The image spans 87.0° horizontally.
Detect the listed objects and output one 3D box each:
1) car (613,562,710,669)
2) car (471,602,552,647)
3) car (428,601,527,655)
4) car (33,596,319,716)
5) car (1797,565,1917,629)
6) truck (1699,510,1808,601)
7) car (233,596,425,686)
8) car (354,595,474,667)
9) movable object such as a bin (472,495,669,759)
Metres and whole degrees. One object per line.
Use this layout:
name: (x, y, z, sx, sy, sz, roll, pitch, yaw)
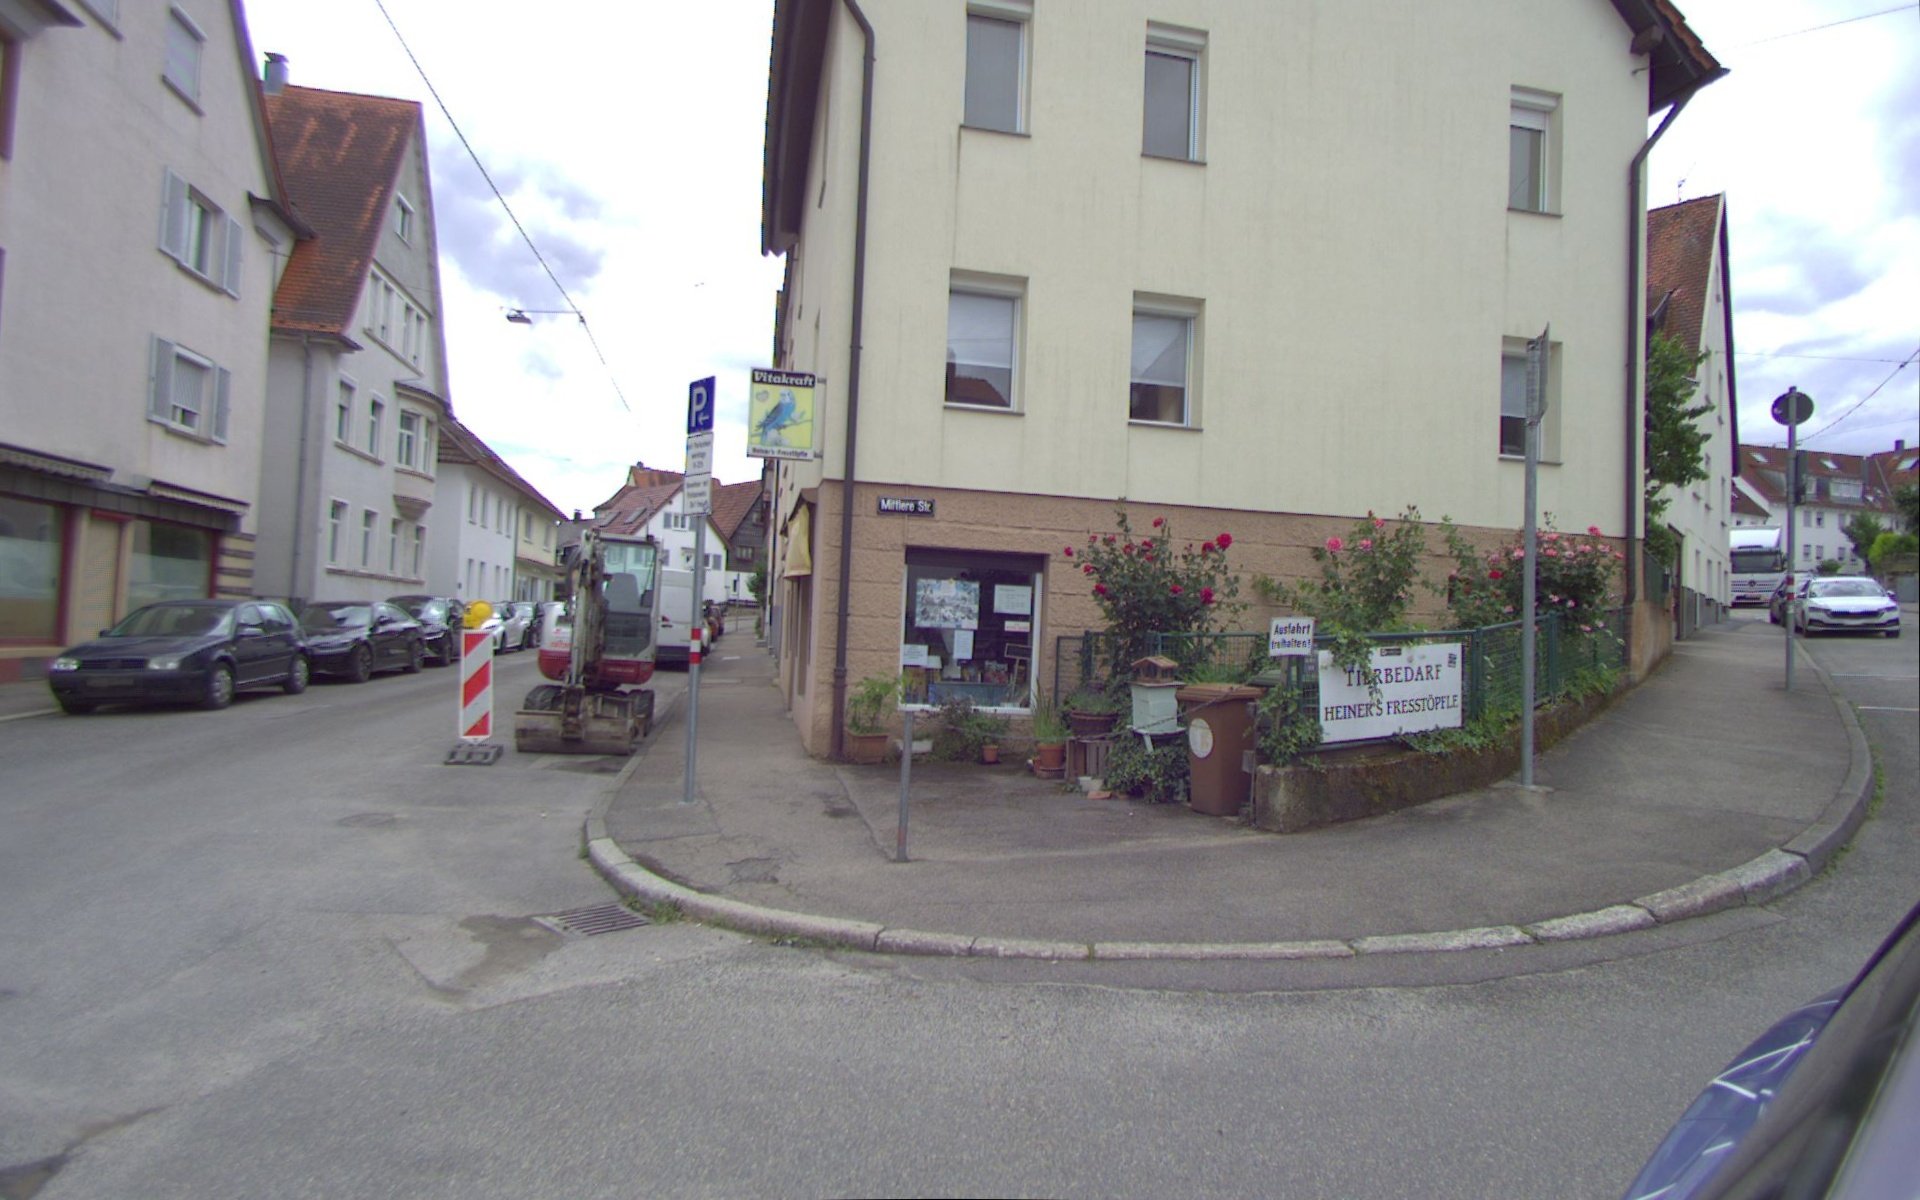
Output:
car: (-7.869, 0.378, 27.251, 1.958, 2.418, 6.633, 4, -1, -13)
car: (-15.039, 0.787, 34.122, 1.662, 1.407, 3.720, -1, 0, -10)
car: (-13.791, 0.751, 29.108, 1.662, 1.407, 3.807, -1, 0, -11)
car: (-10.583, 0.669, 14.054, 1.661, 1.421, 4.009, 0, 0, -14)
car: (22.414, -0.117, 25.440, 1.789, 1.463, 4.243, -2, 1, 36)
truck: (35.155, -1.850, 45.117, 2.662, 3.642, 8.019, -1, 0, 30)
car: (-11.515, 0.675, 18.791, 1.662, 1.468, 4.111, -1, 0, -11)
car: (-12.764, 0.666, 23.901, 1.661, 1.538, 4.112, -1, 0, -16)
movable object such as a bin: (-4.501, 0.283, 12.322, 1.539, 2.532, 4.683, 4, -1, -14)
